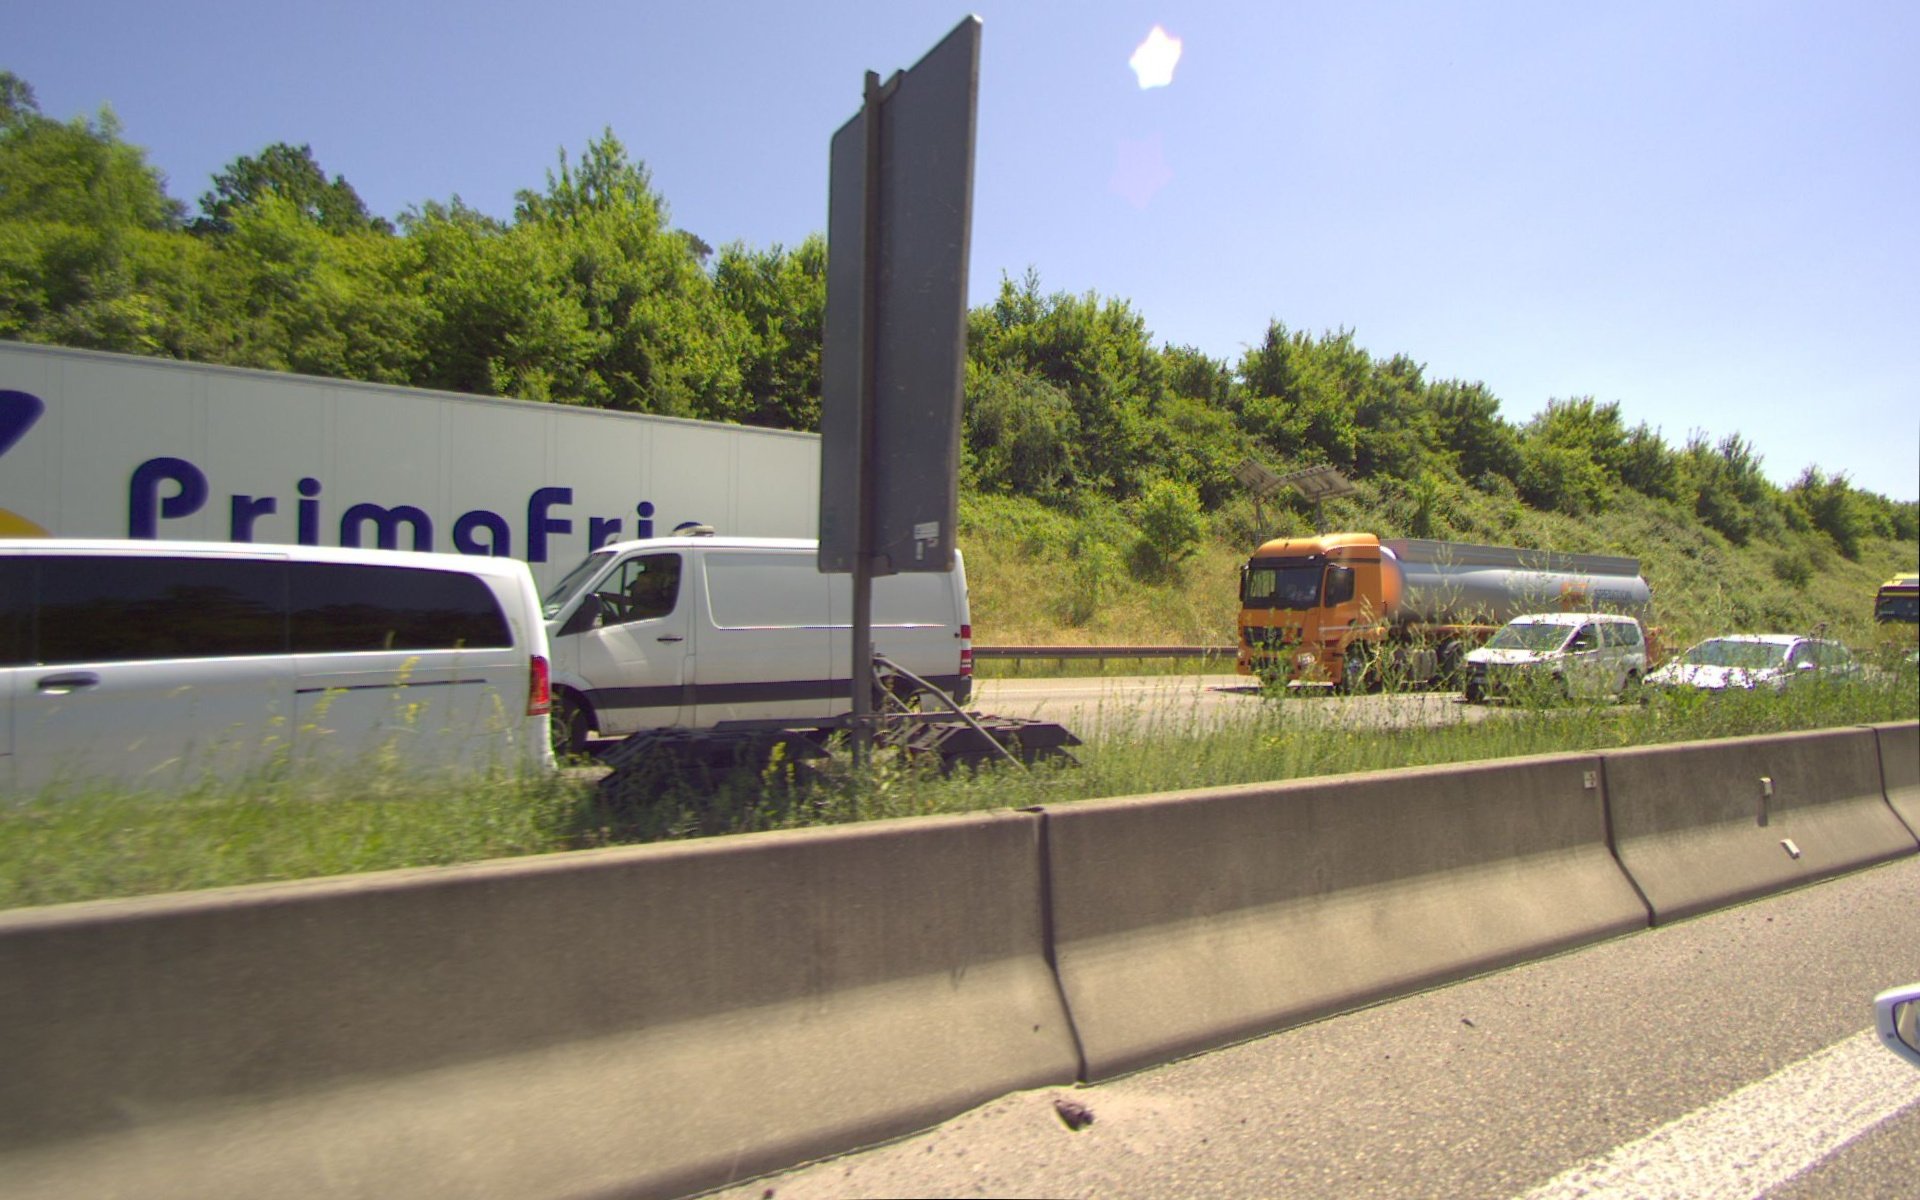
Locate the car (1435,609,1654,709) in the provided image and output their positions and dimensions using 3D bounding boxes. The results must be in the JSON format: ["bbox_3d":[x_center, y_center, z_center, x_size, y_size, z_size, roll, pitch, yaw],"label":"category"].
[{"bbox_3d":[11.863,1.152,20.301,4.706,1.786,1.818,2,0,-32],"label":"car"}]

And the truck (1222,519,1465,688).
[{"bbox_3d":[8.685,0.110,22.649,5.128,3.410,2.480,1,0,-32],"label":"truck"}]

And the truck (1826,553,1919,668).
[{"bbox_3d":[44.594,0.693,44.746,17.177,4.515,3.679,2,0,-30],"label":"truck"}]

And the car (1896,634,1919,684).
[{"bbox_3d":[31.944,1.909,32.088,4.706,1.517,1.818,2,0,-32],"label":"car"}]

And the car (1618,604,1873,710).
[{"bbox_3d":[13.075,0.913,16.638,4.706,1.517,1.818,2,0,-32],"label":"car"}]

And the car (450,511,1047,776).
[{"bbox_3d":[-2.259,0.487,11.771,6.467,2.416,2.173,2,0,-31],"label":"car"}]

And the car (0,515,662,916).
[{"bbox_3d":[-4.863,0.586,6.031,5.600,2.003,1.817,2,0,-31],"label":"car"}]

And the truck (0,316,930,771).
[{"bbox_3d":[-8.824,-0.512,12.507,17.177,4.515,3.679,2,0,-30],"label":"truck"}]

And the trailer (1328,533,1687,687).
[{"bbox_3d":[14.610,0.454,26.206,11.560,3.337,2.565,3,-1,-30],"label":"trailer"}]
